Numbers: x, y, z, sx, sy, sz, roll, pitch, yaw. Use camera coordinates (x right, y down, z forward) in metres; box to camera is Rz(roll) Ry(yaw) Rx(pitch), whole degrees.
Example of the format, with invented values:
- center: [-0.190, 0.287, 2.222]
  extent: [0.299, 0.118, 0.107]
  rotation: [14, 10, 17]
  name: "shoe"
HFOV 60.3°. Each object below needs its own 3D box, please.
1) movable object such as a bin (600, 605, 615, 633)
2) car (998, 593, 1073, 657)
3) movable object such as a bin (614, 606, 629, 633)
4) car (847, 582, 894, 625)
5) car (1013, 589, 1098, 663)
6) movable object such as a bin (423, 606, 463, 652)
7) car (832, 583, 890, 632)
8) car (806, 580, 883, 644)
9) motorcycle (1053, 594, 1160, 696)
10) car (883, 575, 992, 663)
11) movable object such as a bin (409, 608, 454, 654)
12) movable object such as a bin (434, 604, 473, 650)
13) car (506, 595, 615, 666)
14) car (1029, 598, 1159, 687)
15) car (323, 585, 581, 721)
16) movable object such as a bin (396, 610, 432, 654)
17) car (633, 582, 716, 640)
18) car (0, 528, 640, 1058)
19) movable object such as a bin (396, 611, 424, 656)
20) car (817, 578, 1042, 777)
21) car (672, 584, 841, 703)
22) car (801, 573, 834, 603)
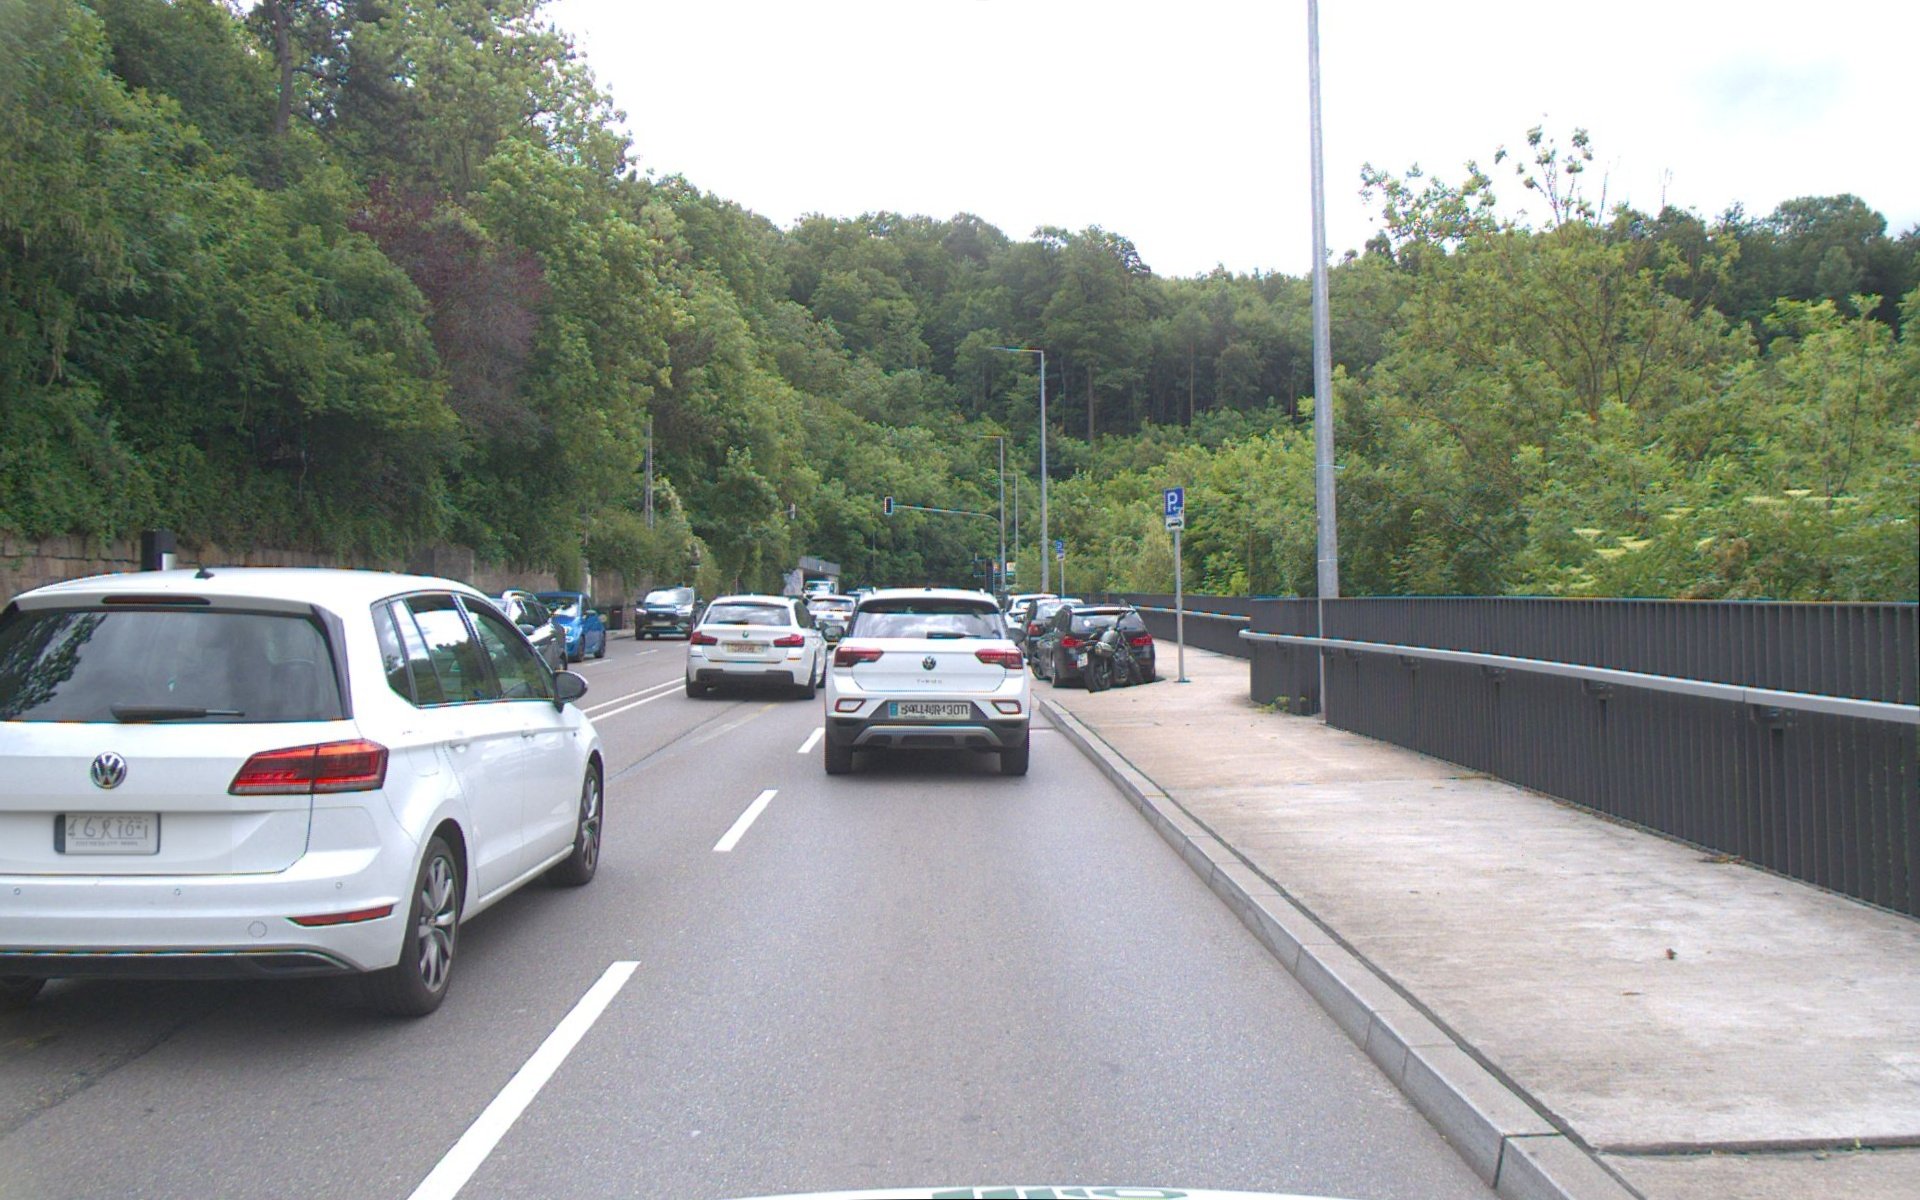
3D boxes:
- center: [-12.909, 0.685, 60.542]
  extent: [0.468, 0.988, 0.367]
  rotation: [2, -1, -6]
  name: "movable object such as a bin"
- center: [1.984, 0.653, 44.607]
  extent: [1.691, 1.596, 4.623]
  rotation: [-1, 0, -1]
  name: "car"
- center: [-12.413, 0.713, 60.581]
  extent: [0.469, 0.952, 0.365]
  rotation: [2, -1, -6]
  name: "movable object such as a bin"
- center: [-4.120, 0.149, 76.524]
  extent: [1.953, 1.897, 4.000]
  rotation: [1, 0, 0]
  name: "car"
- center: [2.205, 0.577, 39.185]
  extent: [1.626, 1.599, 4.254]
  rotation: [-3, 0, -1]
  name: "car"
- center: [-12.387, 0.685, 39.646]
  extent: [0.757, 1.080, 0.717]
  rotation: [0, 0, -5]
  name: "movable object such as a bin"
- center: [-3.697, 0.284, 62.603]
  extent: [1.953, 1.771, 3.999]
  rotation: [1, 0, -1]
  name: "car"
- center: [-3.170, 0.346, 45.914]
  extent: [1.824, 1.623, 3.999]
  rotation: [2, -1, 0]
  name: "car"
- center: [2.307, 0.671, 25.720]
  extent: [0.755, 1.493, 2.502]
  rotation: [1, 0, 27]
  name: "motorcycle"
- center: [-0.467, 0.440, 38.567]
  extent: [1.951, 1.875, 4.153]
  rotation: [2, 0, 7]
  name: "car"
- center: [-12.439, 0.728, 38.939]
  extent: [0.881, 1.052, 0.621]
  rotation: [0, 0, -5]
  name: "movable object such as a bin"
- center: [-12.374, 0.653, 40.385]
  extent: [0.772, 1.089, 0.708]
  rotation: [0, 1, -5]
  name: "movable object such as a bin"
- center: [-8.754, 0.645, 36.466]
  extent: [1.551, 1.487, 3.523]
  rotation: [0, 0, 0]
  name: "car"
- center: [2.335, 0.706, 29.793]
  extent: [1.786, 1.425, 4.317]
  rotation: [-2, 0, -2]
  name: "car"
- center: [-6.091, 0.591, 20.371]
  extent: [1.818, 1.471, 4.295]
  rotation: [1, 0, 0]
  name: "car"
- center: [-12.417, 0.732, 37.649]
  extent: [0.660, 0.983, 0.543]
  rotation: [0, 0, -5]
  name: "movable object such as a bin"
- center: [-9.034, 0.337, 52.616]
  extent: [1.778, 1.727, 4.470]
  rotation: [1, 0, 1]
  name: "car"
- center: [-2.593, 0.574, 7.093]
  extent: [1.685, 1.581, 4.274]
  rotation: [1, 0, -1]
  name: "car"
- center: [-12.293, 0.748, 36.972]
  extent: [0.506, 0.983, 0.474]
  rotation: [0, 0, -5]
  name: "movable object such as a bin"
- center: [-0.222, 0.638, 15.193]
  extent: [1.776, 1.566, 4.008]
  rotation: [-1, -1, 0]
  name: "car"
- center: [-2.968, 0.589, 25.090]
  extent: [1.953, 1.585, 4.681]
  rotation: [1, 0, 0]
  name: "car"
- center: [-10.101, -0.839, 117.463]
  extent: [1.882, 2.040, 5.355]
  rotation: [0, 0, -1]
  name: "car"
